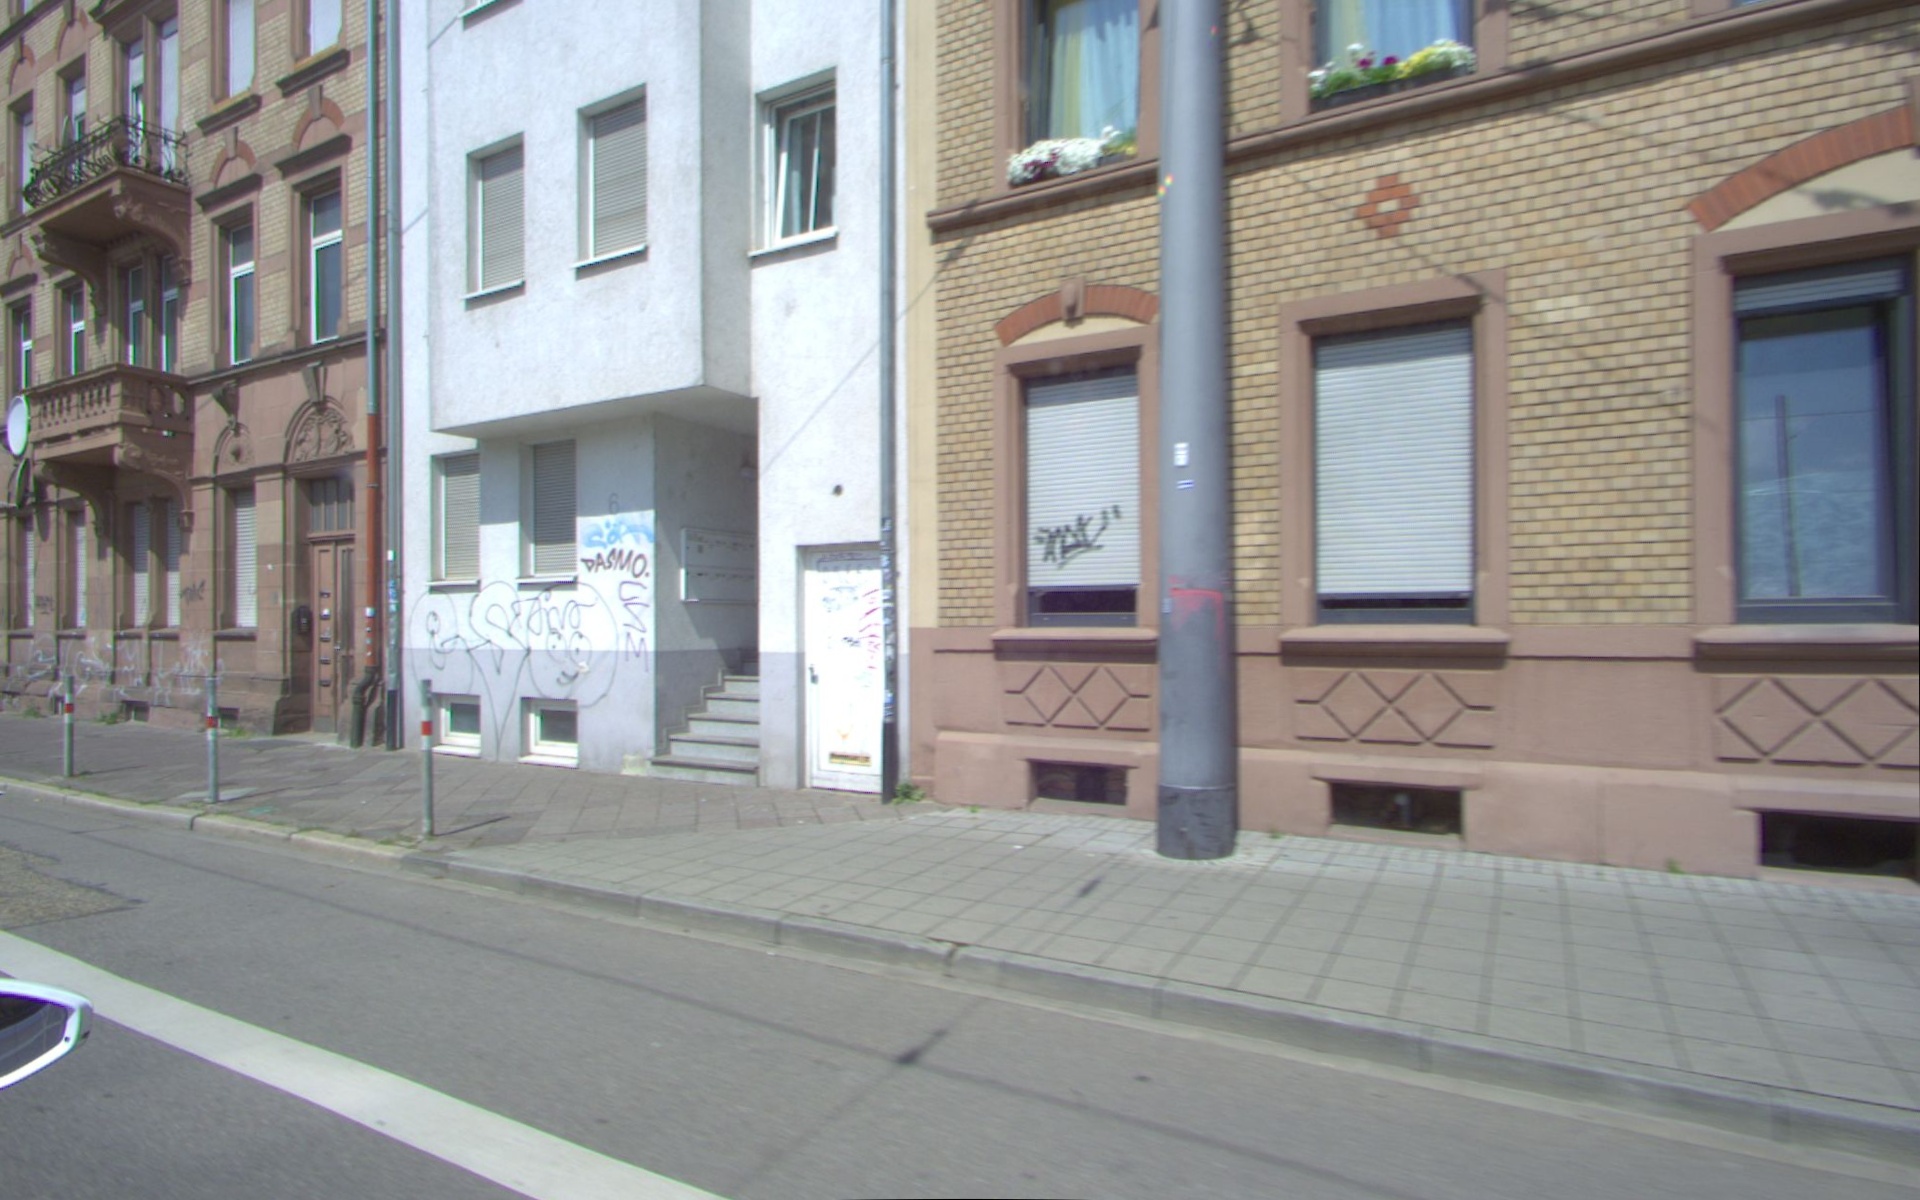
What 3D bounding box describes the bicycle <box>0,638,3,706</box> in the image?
[{"bbox_3d":[-17.944,1.284,17.966,2.172,1.193,0.585,-1,0,31],"label":"bicycle"}]
